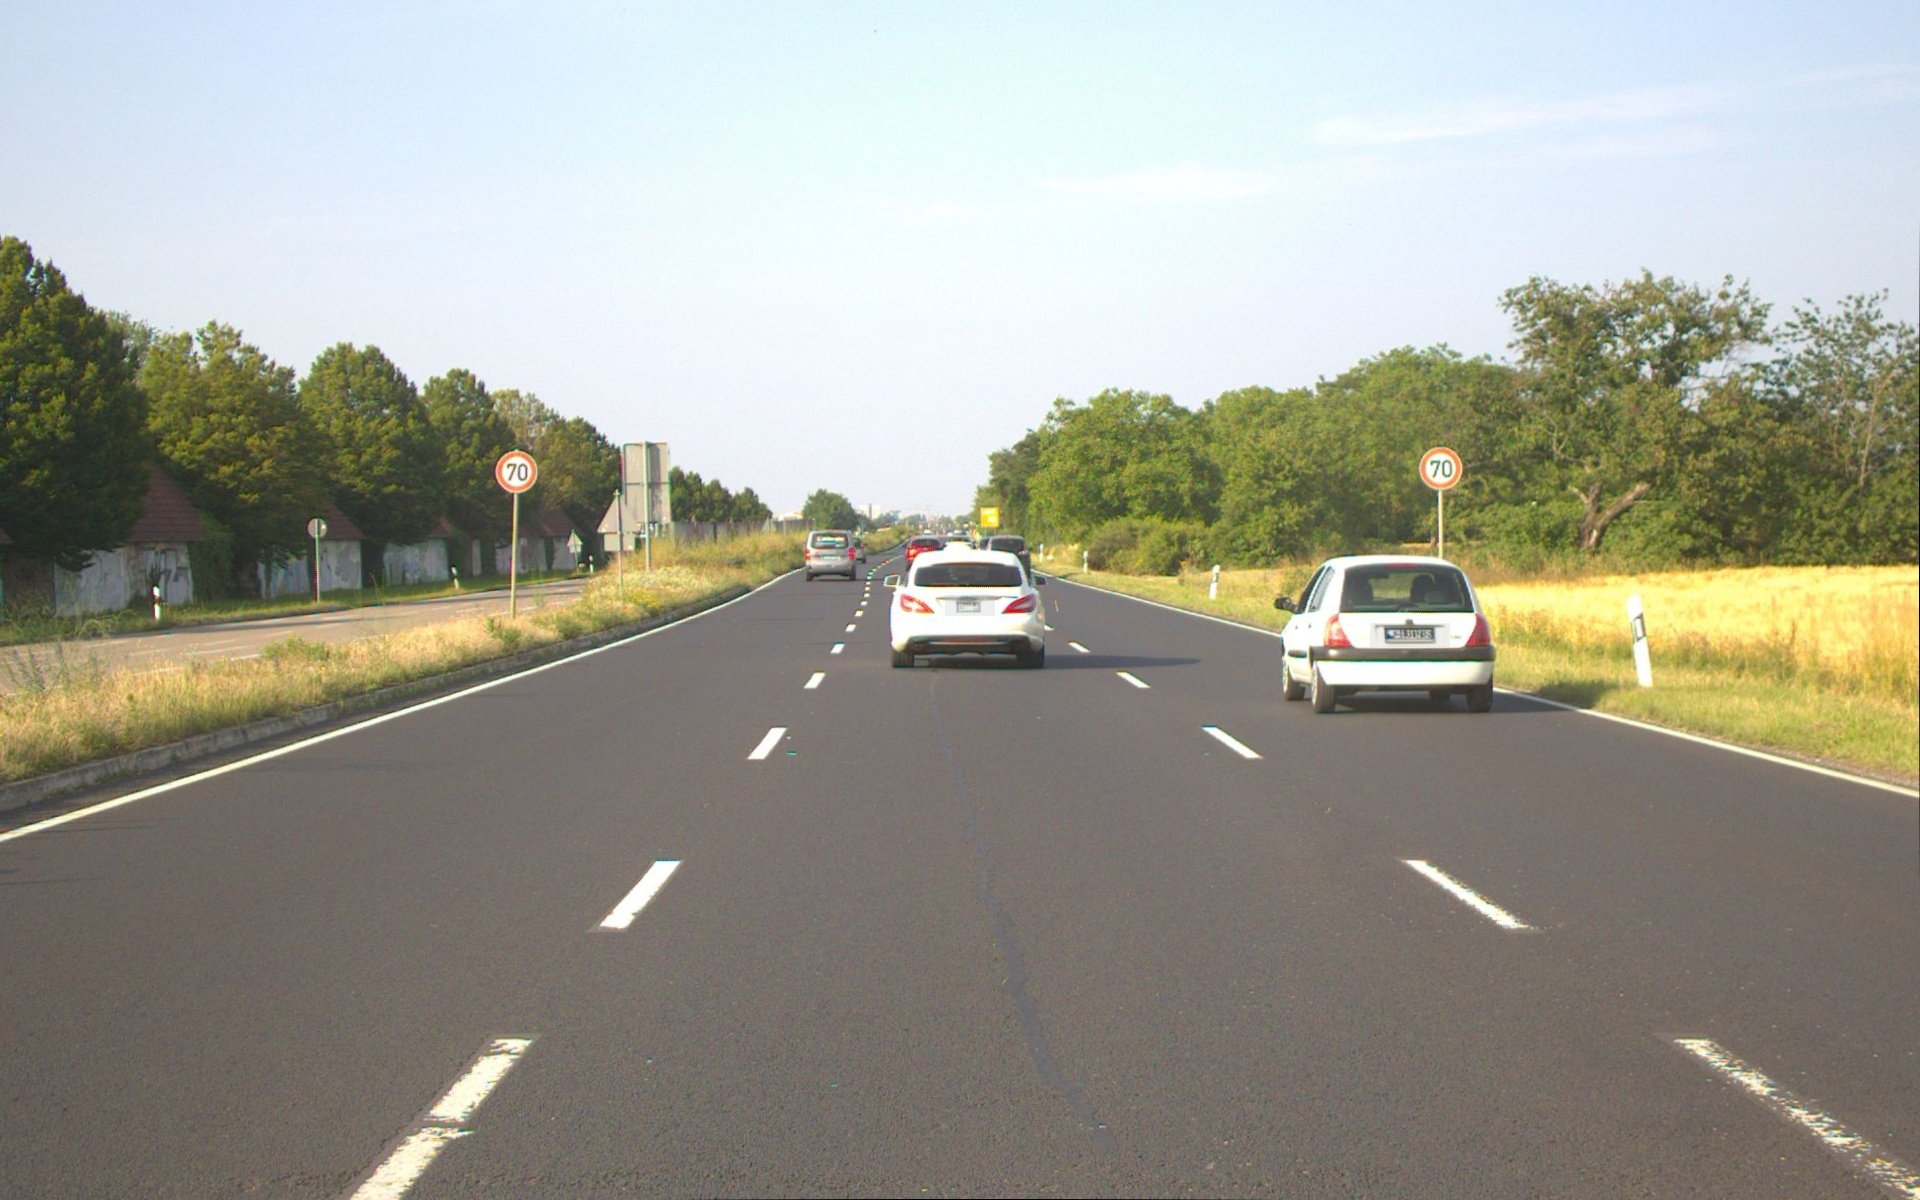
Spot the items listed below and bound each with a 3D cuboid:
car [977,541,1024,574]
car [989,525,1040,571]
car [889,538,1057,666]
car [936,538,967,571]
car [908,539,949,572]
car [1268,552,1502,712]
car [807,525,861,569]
[{"bbox_3d":[1.937,-2.052,165.835,1.993,1.579,4.285,0,0,-3],"label":"car"},{"bbox_3d":[2.082,-1.983,132.044,1.828,1.722,4.000,0,0,-1],"label":"car"},{"bbox_3d":[0.143,0.012,42.719,1.993,1.511,4.000,0,0,0],"label":"car"},{"bbox_3d":[-0.482,-2.698,204.933,1.803,1.897,3.559,0,0,1],"label":"car"},{"bbox_3d":[-1.411,-1.961,153.007,1.812,1.431,3.858,0,0,-1],"label":"car"},{"bbox_3d":[3.862,0.269,31.779,1.617,1.382,3.951,0,0,-1],"label":"car"},{"bbox_3d":[-4.654,-1.951,127.777,1.758,1.612,4.000,0,0,2],"label":"car"}]
